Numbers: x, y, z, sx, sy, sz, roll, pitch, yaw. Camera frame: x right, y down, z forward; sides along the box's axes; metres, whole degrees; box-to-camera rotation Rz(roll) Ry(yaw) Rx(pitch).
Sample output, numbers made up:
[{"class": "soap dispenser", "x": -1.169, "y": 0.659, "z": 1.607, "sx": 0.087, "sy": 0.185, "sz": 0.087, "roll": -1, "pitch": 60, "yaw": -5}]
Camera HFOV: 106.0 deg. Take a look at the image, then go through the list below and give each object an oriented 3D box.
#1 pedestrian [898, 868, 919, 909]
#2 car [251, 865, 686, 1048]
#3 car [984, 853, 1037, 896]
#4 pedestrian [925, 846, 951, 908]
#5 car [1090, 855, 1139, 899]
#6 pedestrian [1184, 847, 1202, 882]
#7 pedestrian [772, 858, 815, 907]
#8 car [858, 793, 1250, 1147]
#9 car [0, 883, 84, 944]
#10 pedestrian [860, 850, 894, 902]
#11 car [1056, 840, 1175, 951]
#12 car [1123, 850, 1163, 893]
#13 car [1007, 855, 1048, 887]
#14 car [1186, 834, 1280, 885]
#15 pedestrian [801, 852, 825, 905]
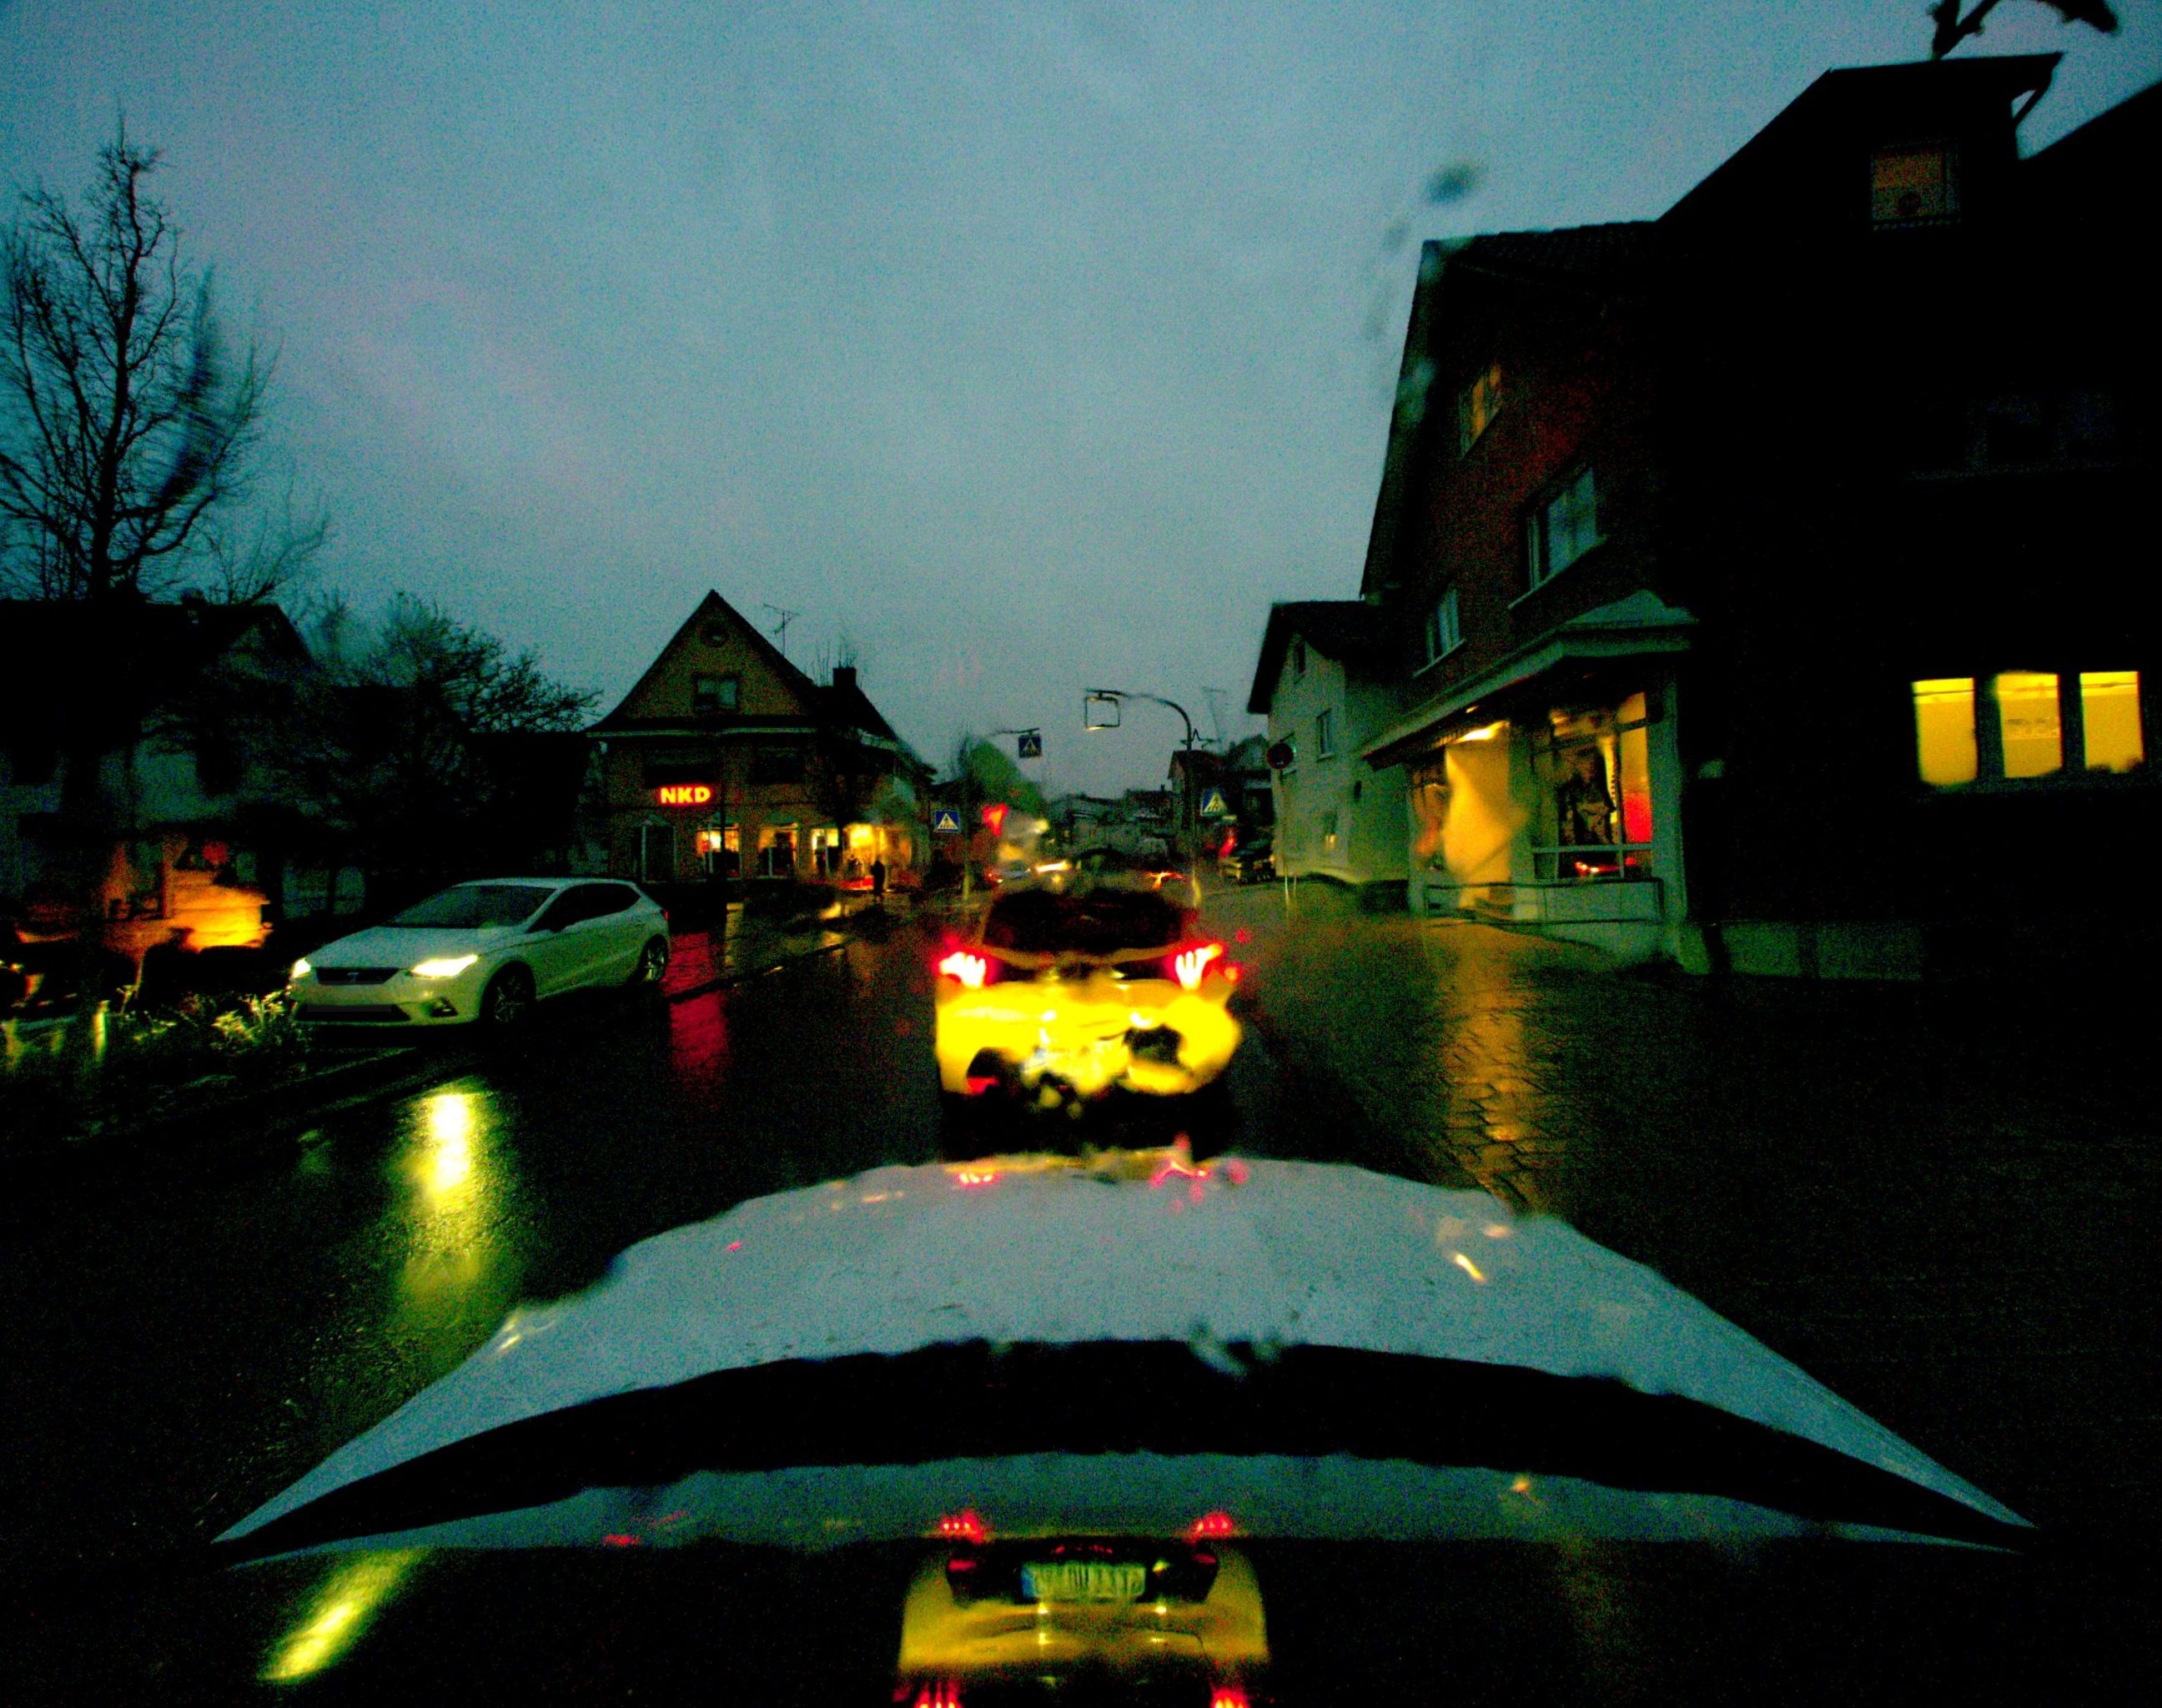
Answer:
[{"class": "pedestrian", "x": -5.324, "y": 1.049, "z": 25.173, "sx": 0.551, "sy": 1.233, "sz": 0.433, "roll": -1, "pitch": -1, "yaw": -2}, {"class": "car", "x": -6.228, "y": 0.907, "z": 8.989, "sx": 1.663, "sy": 1.516, "sz": 4.002, "roll": 0, "pitch": 0, "yaw": 2}, {"class": "car", "x": -3.518, "y": 0.994, "z": 41.399, "sx": 1.985, "sy": 2.013, "sz": 4.366, "roll": -1, "pitch": 0, "yaw": 4}, {"class": "pedestrian", "x": -4.377, "y": 0.699, "z": 24.935, "sx": 0.701, "sy": 1.876, "sz": 0.616, "roll": 0, "pitch": 0, "yaw": -4}, {"class": "car", "x": 1.421, "y": 0.873, "z": 33.025, "sx": 1.819, "sy": 1.601, "sz": 4.586, "roll": -1, "pitch": 0, "yaw": 4}, {"class": "pedestrian", "x": 6.678, "y": 0.618, "z": 48.481, "sx": 1.011, "sy": 2.014, "sz": 1.277, "roll": -1, "pitch": -1, "yaw": 7}, {"class": "pedestrian", "x": -8.980, "y": 0.883, "z": 25.440, "sx": 0.886, "sy": 1.417, "sz": 0.777, "roll": 5, "pitch": -1, "yaw": 6}, {"class": "car", "x": 0.040, "y": 0.592, "z": 6.534, "sx": 1.984, "sy": 1.795, "sz": 4.654, "roll": -2, "pitch": 0, "yaw": 5}, {"class": "car", "x": -29.303, "y": 1.591, "z": 21.297, "sx": 3.894, "sy": 1.519, "sz": 1.608, "roll": -1, "pitch": 0, "yaw": -12}, {"class": "pedestrian", "x": -6.911, "y": 0.735, "z": 27.671, "sx": 0.972, "sy": 1.742, "sz": 0.960, "roll": 0, "pitch": 0, "yaw": -4}, {"class": "car", "x": 0.635, "y": 0.648, "z": 14.390, "sx": 1.790, "sy": 1.662, "sz": 4.003, "roll": -1, "pitch": -1, "yaw": 3}, {"class": "car", "x": 3.204, "y": 0.862, "z": 42.519, "sx": 1.637, "sy": 2.013, "sz": 3.999, "roll": -3, "pitch": 0, "yaw": -1}, {"class": "car", "x": -3.132, "y": 0.975, "z": 48.468, "sx": 1.986, "sy": 1.752, "sz": 4.362, "roll": -1, "pitch": 0, "yaw": 1}, {"class": "car", "x": 6.225, "y": 0.221, "z": 33.646, "sx": 3.679, "sy": 2.014, "sz": 1.691, "roll": -1, "pitch": -1, "yaw": 5}, {"class": "pedestrian", "x": -9.001, "y": 0.811, "z": 27.344, "sx": 0.586, "sy": 1.742, "sz": 0.683, "roll": -1, "pitch": -1, "yaw": -4}]
